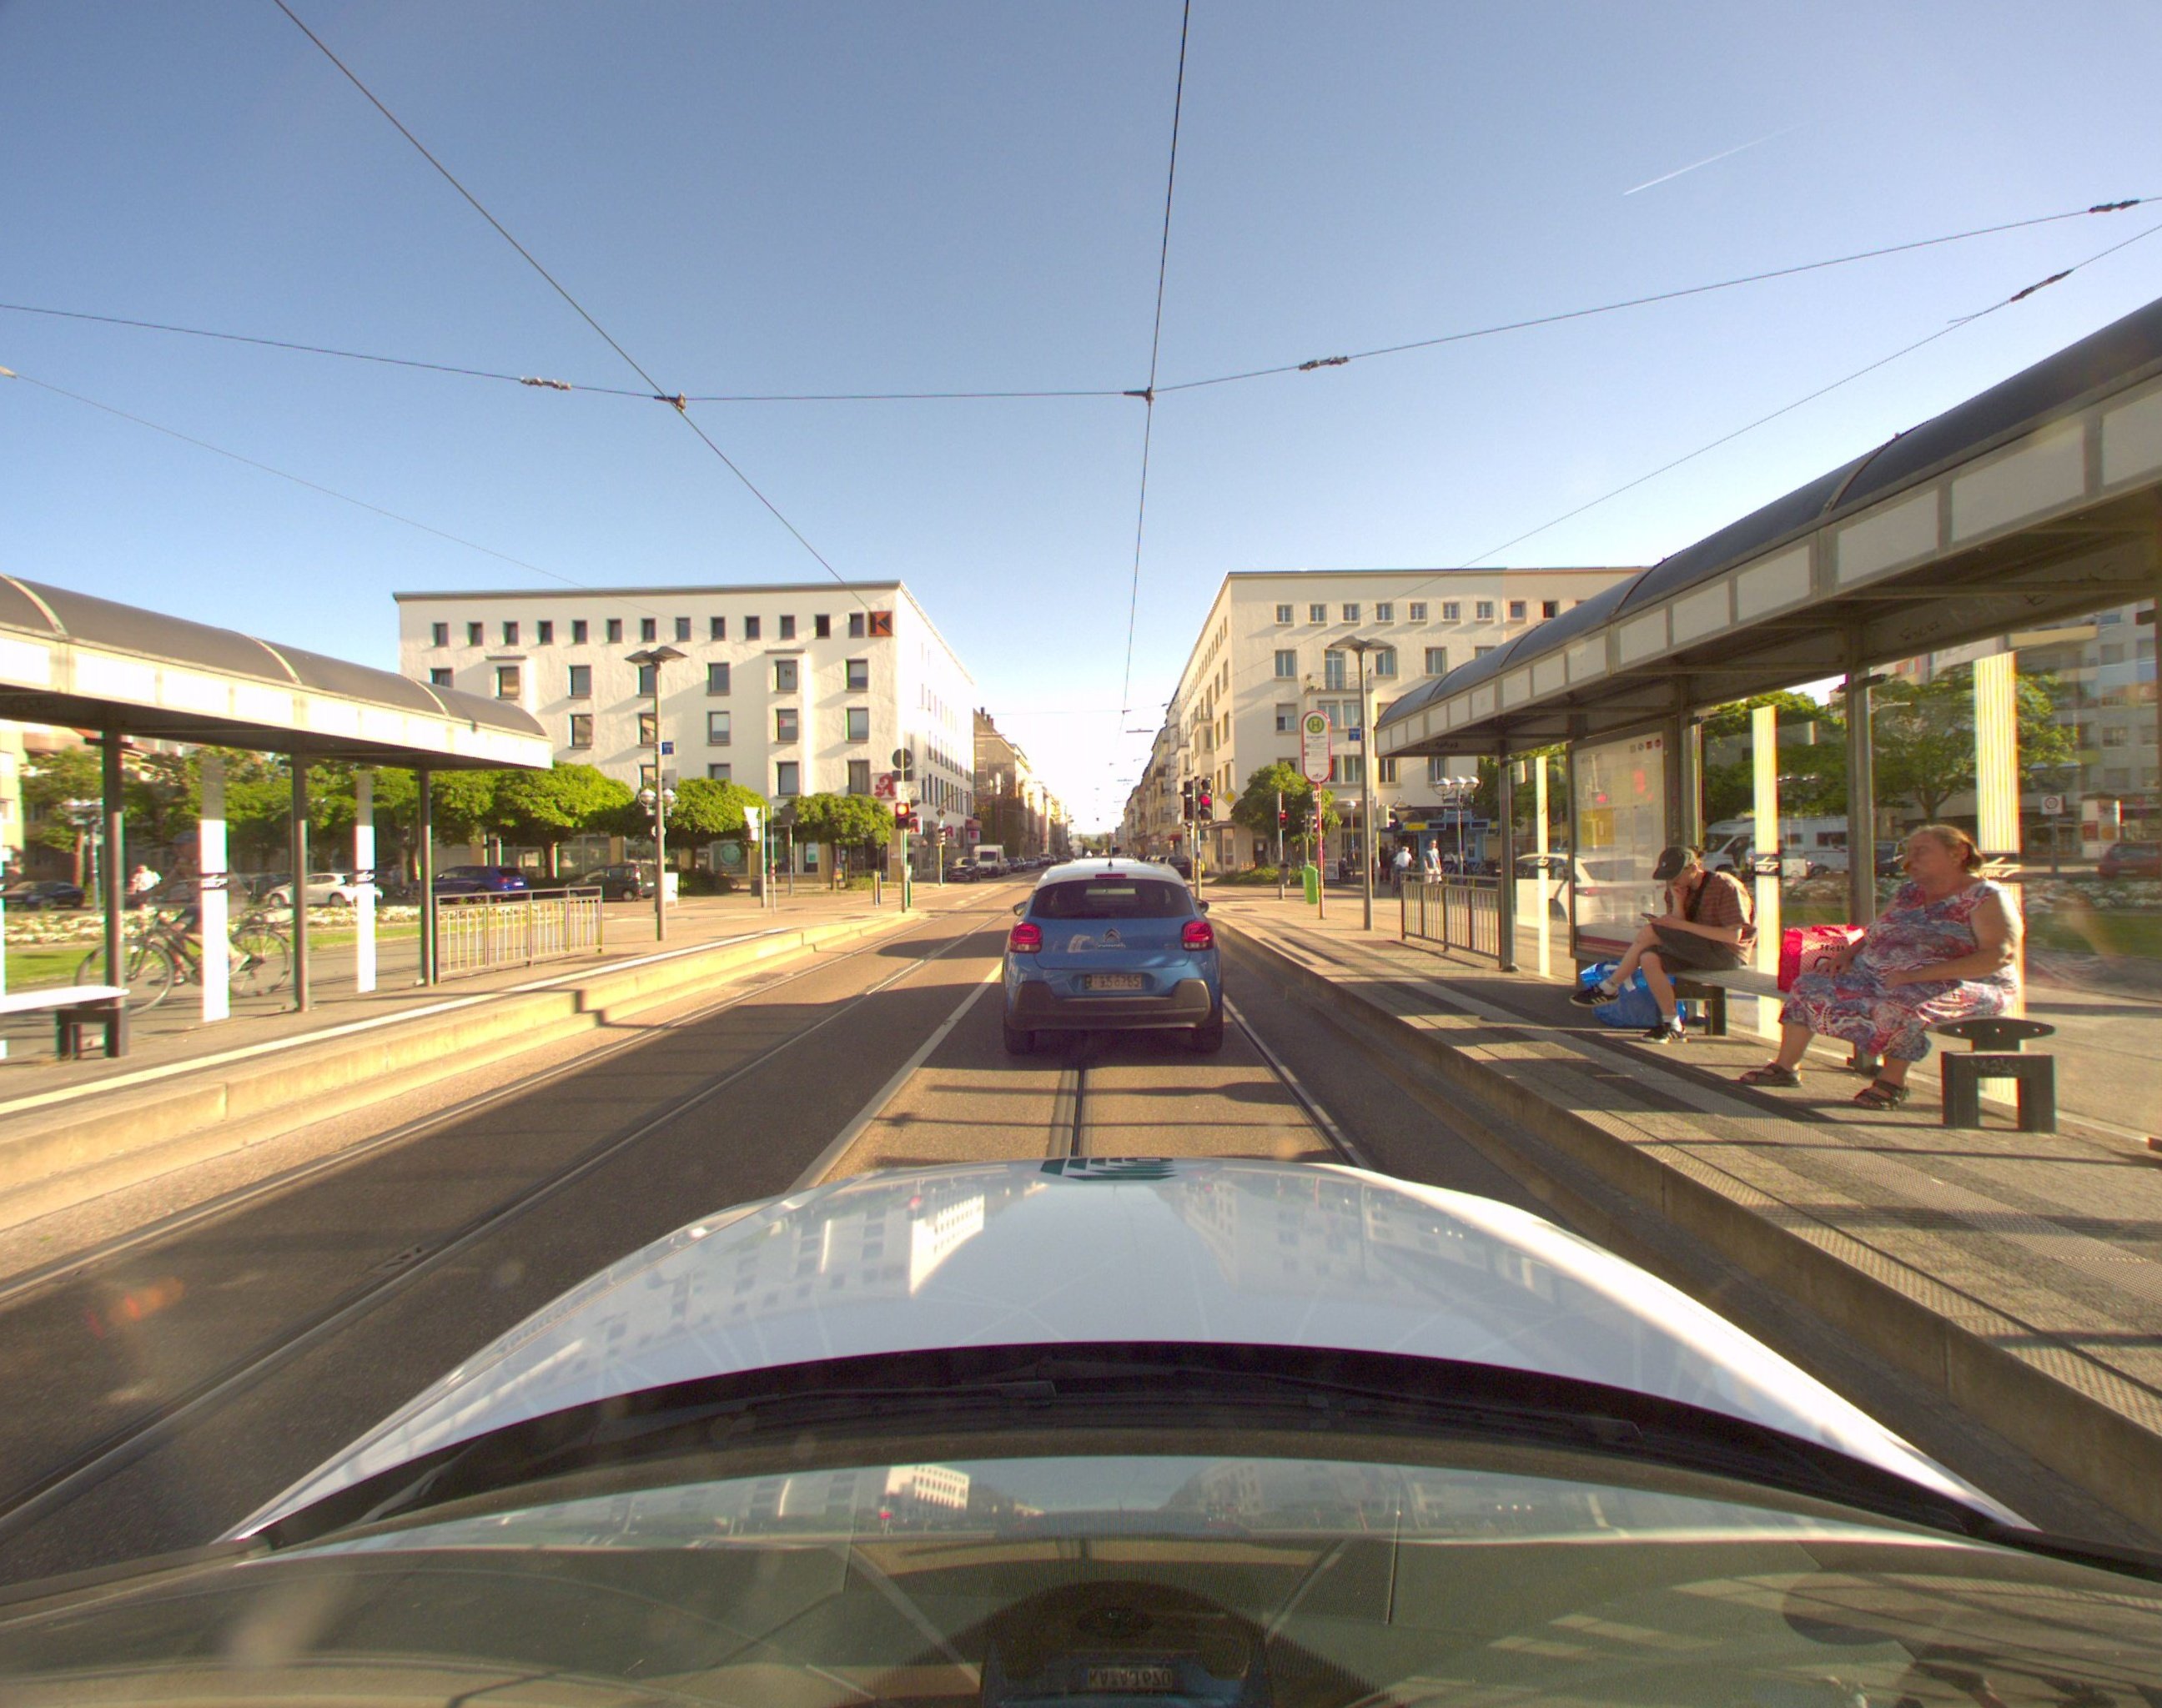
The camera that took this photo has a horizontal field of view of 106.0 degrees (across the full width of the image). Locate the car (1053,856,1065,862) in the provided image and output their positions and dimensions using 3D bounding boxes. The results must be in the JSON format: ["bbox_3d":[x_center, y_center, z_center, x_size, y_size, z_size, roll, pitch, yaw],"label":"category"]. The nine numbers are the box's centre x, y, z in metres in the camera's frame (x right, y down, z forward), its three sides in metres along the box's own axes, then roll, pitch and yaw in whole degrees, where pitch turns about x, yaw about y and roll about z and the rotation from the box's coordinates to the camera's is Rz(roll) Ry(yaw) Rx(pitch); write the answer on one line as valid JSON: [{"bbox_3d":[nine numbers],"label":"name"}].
[{"bbox_3d":[-4.229,0.967,154.245,1.986,1.156,4.002,-1,0,2],"label":"car"}]

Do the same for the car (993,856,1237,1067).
[{"bbox_3d":[0.294,0.763,7.669,1.721,1.482,3.828,0,0,2],"label":"car"}]

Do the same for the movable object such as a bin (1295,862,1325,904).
[{"bbox_3d":[4.354,0.547,15.491,0.447,0.786,0.489,-1,0,4],"label":"movable object such as a bin"}]

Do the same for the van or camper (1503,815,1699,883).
[{"bbox_3d":[22.867,-0.226,36.048,7.093,2.747,2.372,-1,1,2],"label":"van or camper"}]

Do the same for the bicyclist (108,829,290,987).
[{"bbox_3d":[-8.631,0.505,8.008,0.822,1.455,0.879,0,-1,9],"label":"bicyclist"}]

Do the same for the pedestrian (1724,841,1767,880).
[{"bbox_3d":[22.151,0.209,27.151,0.897,1.279,0.606,-1,0,6],"label":"pedestrian"}]

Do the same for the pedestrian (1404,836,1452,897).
[{"bbox_3d":[10.971,0.406,25.802,0.978,1.878,1.128,-1,-1,-1],"label":"pedestrian"}]

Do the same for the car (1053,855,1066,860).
[{"bbox_3d":[-4.845,0.771,185.202,1.981,1.156,4.528,-1,0,11],"label":"car"}]

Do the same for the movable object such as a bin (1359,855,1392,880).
[{"bbox_3d":[14.456,0.655,40.042,1.194,1.153,1.218,-1,0,2],"label":"movable object such as a bin"}]

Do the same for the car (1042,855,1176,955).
[{"bbox_3d":[0.479,0.760,14.455,1.977,1.464,4.817,0,0,2],"label":"car"}]

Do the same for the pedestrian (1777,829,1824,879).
[{"bbox_3d":[23.235,0.009,26.320,0.897,1.585,0.663,-1,0,5],"label":"pedestrian"}]

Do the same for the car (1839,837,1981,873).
[{"bbox_3d":[36.606,0.067,36.102,3.959,1.511,2.007,0,-1,13],"label":"car"}]

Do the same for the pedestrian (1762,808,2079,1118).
[{"bbox_3d":[3.951,0.479,3.891,0.855,1.334,0.623,2,-1,1],"label":"pedestrian"}]

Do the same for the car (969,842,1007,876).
[{"bbox_3d":[-7.116,0.377,62.949,2.078,2.542,6.206,0,0,1],"label":"car"}]

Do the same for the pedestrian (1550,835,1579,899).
[{"bbox_3d":[13.365,0.362,22.521,0.554,1.745,0.528,0,-1,12],"label":"pedestrian"}]

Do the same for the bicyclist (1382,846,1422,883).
[{"bbox_3d":[10.910,0.336,27.647,0.938,1.225,0.942,1,0,-42],"label":"bicyclist"}]

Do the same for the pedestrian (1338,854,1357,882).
[{"bbox_3d":[12.728,0.665,38.889,0.733,1.316,0.631,-1,0,25],"label":"pedestrian"}]

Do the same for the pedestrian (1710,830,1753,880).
[{"bbox_3d":[22.358,0.043,27.997,0.897,1.685,0.696,-1,0,5],"label":"pedestrian"}]

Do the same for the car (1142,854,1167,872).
[{"bbox_3d":[6.567,0.789,72.873,1.986,1.464,4.002,-1,0,2],"label":"car"}]

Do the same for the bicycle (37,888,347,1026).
[{"bbox_3d":[-8.614,0.931,8.051,0.724,1.113,1.982,-1,0,10],"label":"bicycle"}]

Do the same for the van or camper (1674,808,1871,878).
[{"bbox_3d":[30.129,-0.465,35.700,6.375,2.839,2.381,-1,0,5],"label":"van or camper"}]

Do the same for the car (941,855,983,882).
[{"bbox_3d":[-7.647,0.917,52.751,1.987,1.569,4.403,2,-1,1],"label":"car"}]

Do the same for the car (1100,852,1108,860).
[{"bbox_3d":[5.717,0.505,200.147,1.986,1.772,4.002,-1,0,2],"label":"car"}]

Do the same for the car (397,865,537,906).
[{"bbox_3d":[-27.178,1.363,36.168,4.591,1.662,1.999,-1,0,-1],"label":"car"}]

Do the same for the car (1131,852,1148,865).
[{"bbox_3d":[7.314,0.541,101.877,1.986,1.464,4.507,-1,0,2],"label":"car"}]

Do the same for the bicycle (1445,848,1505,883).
[{"bbox_3d":[17.729,0.520,36.693,2.376,1.531,0.726,1,0,0],"label":"bicycle"}]

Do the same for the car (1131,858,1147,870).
[{"bbox_3d":[7.563,1.298,106.214,1.985,1.552,4.003,-1,0,3],"label":"car"}]

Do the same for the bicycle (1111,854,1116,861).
[{"bbox_3d":[6.303,0.671,159.970,0.916,1.389,3.133,-1,0,2],"label":"bicycle"}]

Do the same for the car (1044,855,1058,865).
[{"bbox_3d":[-5.095,0.999,136.971,1.946,1.552,3.942,0,-1,4],"label":"car"}]

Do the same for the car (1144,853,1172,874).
[{"bbox_3d":[5.911,0.695,62.950,1.986,1.501,4.002,-1,0,2],"label":"car"}]

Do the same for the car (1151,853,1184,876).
[{"bbox_3d":[6.043,0.710,57.208,1.986,1.464,4.002,-1,0,2],"label":"car"}]

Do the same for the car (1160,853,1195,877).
[{"bbox_3d":[6.175,0.675,52.403,1.902,1.464,4.002,-1,0,2],"label":"car"}]

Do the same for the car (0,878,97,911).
[{"bbox_3d":[-52.320,1.991,41.042,1.925,1.494,4.314,0,-1,-27],"label":"car"}]

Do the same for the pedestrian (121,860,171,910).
[{"bbox_3d":[-35.161,1.152,30.628,0.938,1.817,0.872,-1,0,13],"label":"pedestrian"}]

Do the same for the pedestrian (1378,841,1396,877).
[{"bbox_3d":[15.588,0.257,41.524,0.650,1.839,0.660,-1,0,5],"label":"pedestrian"}]

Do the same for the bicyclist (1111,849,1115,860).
[{"bbox_3d":[6.327,0.087,159.634,0.806,2.014,0.923,0,-1,2],"label":"bicyclist"}]

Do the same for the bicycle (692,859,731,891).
[{"bbox_3d":[-19.823,1.105,43.742,0.614,1.607,2.625,-1,0,6],"label":"bicycle"}]

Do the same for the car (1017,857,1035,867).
[{"bbox_3d":[-6.957,1.004,103.552,1.987,1.325,3.923,0,-1,1],"label":"car"}]

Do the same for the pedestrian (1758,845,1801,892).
[{"bbox_3d":[24.139,0.485,28.155,0.897,1.585,0.663,-1,0,5],"label":"pedestrian"}]

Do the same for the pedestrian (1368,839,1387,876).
[{"bbox_3d":[15.359,0.182,42.197,0.781,1.839,0.679,-1,0,5],"label":"pedestrian"}]

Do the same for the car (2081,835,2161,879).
[{"bbox_3d":[38.655,0.065,29.049,3.983,1.486,1.995,-1,0,-7],"label":"car"}]

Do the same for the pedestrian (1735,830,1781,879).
[{"bbox_3d":[22.083,0.017,26.574,0.897,1.585,0.663,-1,0,5],"label":"pedestrian"}]

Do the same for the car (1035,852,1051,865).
[{"bbox_3d":[-5.873,0.706,126.983,1.997,2.014,4.694,0,-1,4],"label":"car"}]

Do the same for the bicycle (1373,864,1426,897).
[{"bbox_3d":[10.824,0.878,27.625,2.335,1.061,0.712,0,0,-42],"label":"bicycle"}]

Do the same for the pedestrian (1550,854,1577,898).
[{"bbox_3d":[12.904,0.590,21.784,0.466,1.169,0.559,0,-1,10],"label":"pedestrian"}]

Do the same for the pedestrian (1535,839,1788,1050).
[{"bbox_3d":[3.726,0.544,5.330,0.995,1.225,0.923,2,-1,1],"label":"pedestrian"}]

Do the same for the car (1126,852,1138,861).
[{"bbox_3d":[8.340,0.443,133.227,1.986,1.464,4.002,-1,0,2],"label":"car"}]

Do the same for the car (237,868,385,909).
[{"bbox_3d":[-33.507,1.493,35.531,4.591,1.606,1.855,-1,0,-1],"label":"car"}]

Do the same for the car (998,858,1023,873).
[{"bbox_3d":[-6.745,1.097,78.474,1.987,1.398,4.157,0,-1,1],"label":"car"}]

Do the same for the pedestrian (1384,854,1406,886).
[{"bbox_3d":[14.116,0.708,36.606,0.727,1.409,0.755,-1,3,2],"label":"pedestrian"}]

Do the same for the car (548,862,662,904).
[{"bbox_3d":[-21.237,1.269,36.426,3.973,1.706,1.826,-1,0,1],"label":"car"}]

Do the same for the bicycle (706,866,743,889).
[{"bbox_3d":[-19.100,1.244,43.700,0.615,1.190,2.624,-1,0,5],"label":"bicycle"}]

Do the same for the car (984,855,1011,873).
[{"bbox_3d":[-7.100,0.875,69.782,1.881,1.496,3.562,0,-1,1],"label":"car"}]
